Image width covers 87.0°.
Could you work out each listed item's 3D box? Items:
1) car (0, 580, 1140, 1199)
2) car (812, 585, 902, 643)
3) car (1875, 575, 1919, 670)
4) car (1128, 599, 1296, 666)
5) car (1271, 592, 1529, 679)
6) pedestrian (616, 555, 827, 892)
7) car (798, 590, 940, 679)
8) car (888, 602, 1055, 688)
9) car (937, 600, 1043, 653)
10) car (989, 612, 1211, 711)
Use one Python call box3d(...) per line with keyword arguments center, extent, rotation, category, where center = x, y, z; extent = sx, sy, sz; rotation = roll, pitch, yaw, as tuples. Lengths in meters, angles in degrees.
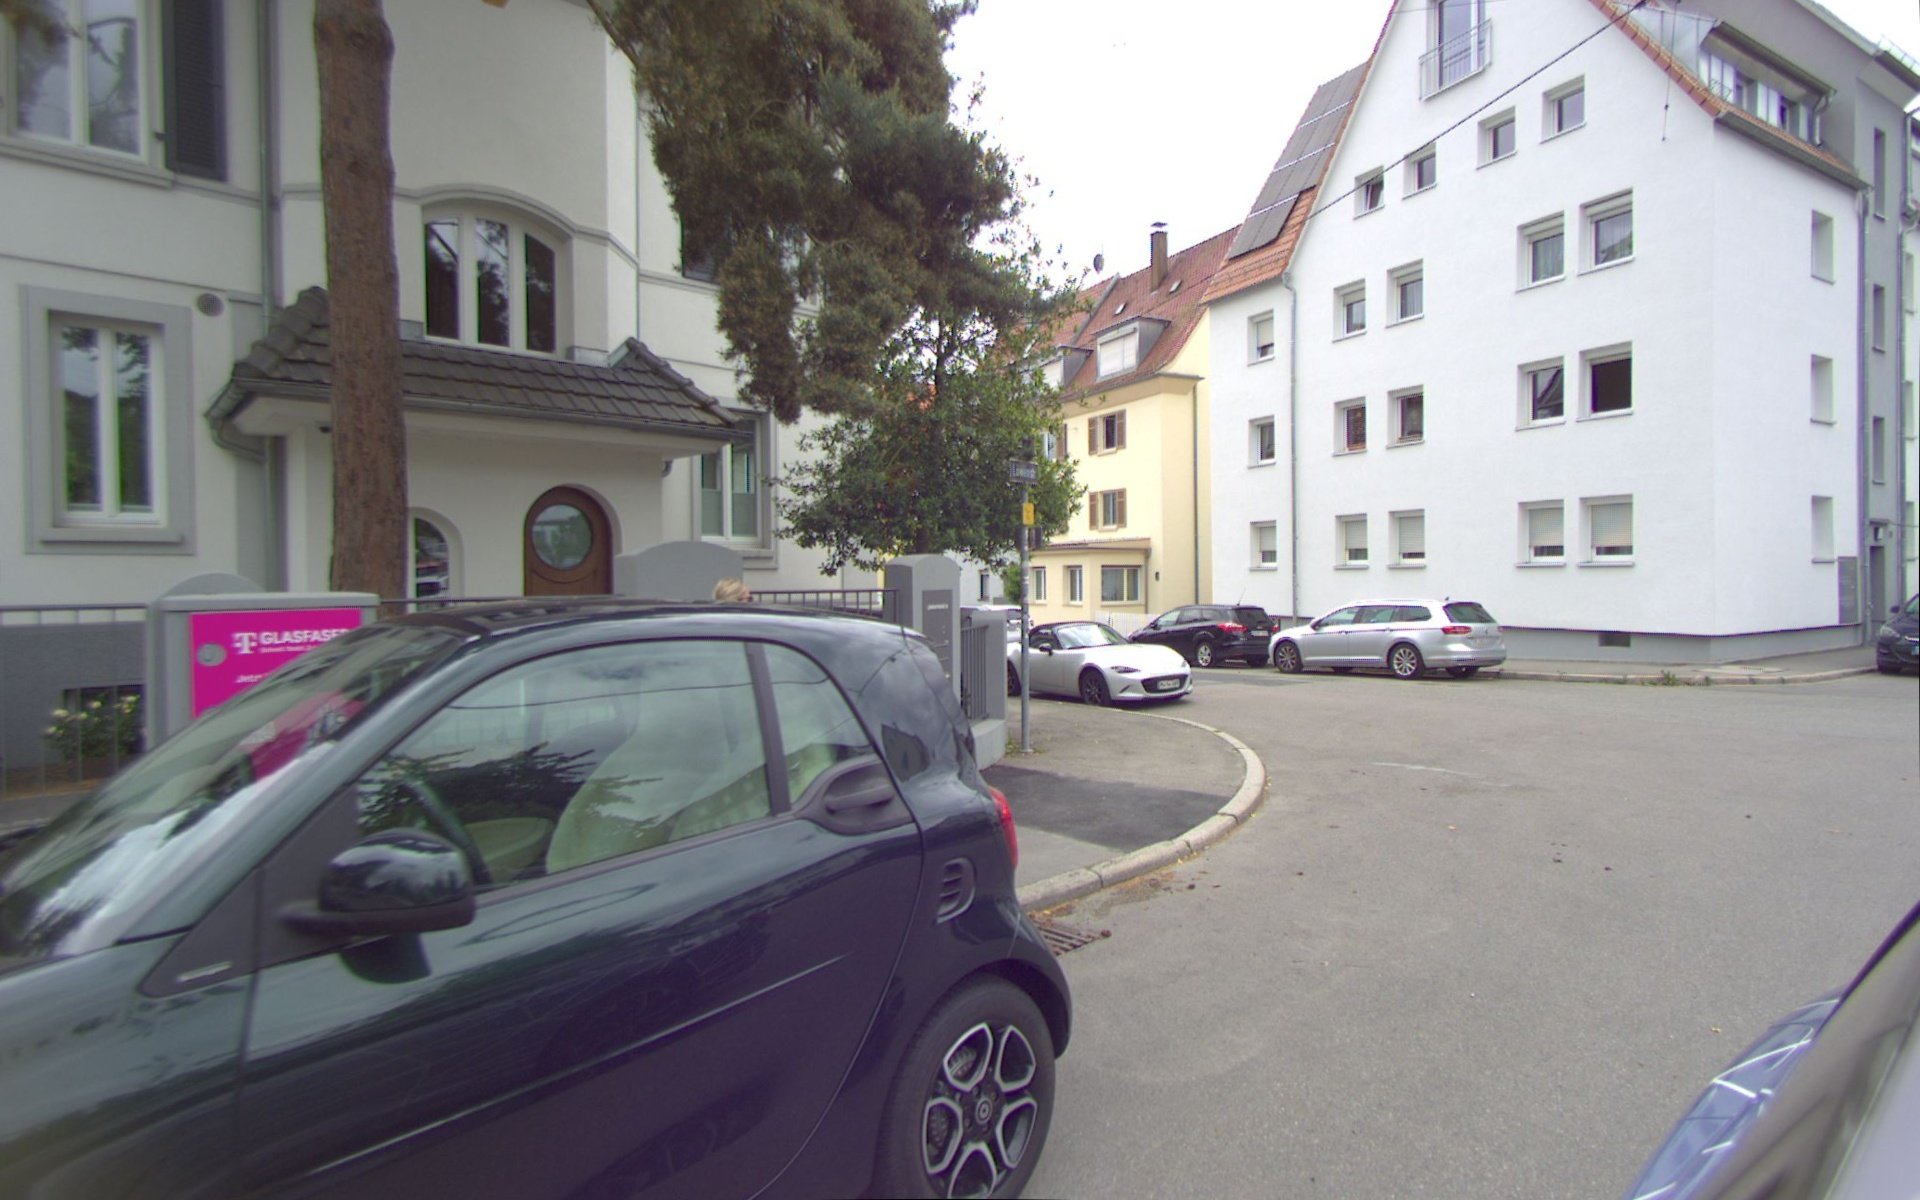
box3d(center=(-1.054, 0.792, 2.412), extent=(2.821, 1.552, 1.572), rotation=(1, -3, -45), category="car")
box3d(center=(-4.742, 0.648, 45.648), extent=(2.072, 2.445, 5.901), rotation=(0, -1, -26), category="car")
box3d(center=(17.214, 0.315, 16.918), extent=(4.203, 1.504, 1.825), rotation=(-2, 1, -33), category="car")
box3d(center=(5.878, 0.740, 24.096), extent=(1.702, 1.440, 4.005), rotation=(0, -1, -26), category="car")
box3d(center=(8.239, 0.623, 19.395), extent=(1.728, 1.468, 4.363), rotation=(0, -1, -29), category="car")
box3d(center=(-1.259, 0.567, 5.334), extent=(0.890, 1.596, 0.683), rotation=(-1, 3, -36), category="pedestrian")
box3d(center=(-2.420, 0.831, 25.785), extent=(1.855, 1.915, 4.520), rotation=(-5, 1, -28), category="car")
box3d(center=(0.108, 0.883, 20.889), extent=(1.637, 1.460, 4.209), rotation=(-5, 1, -26), category="car")
box3d(center=(0.950, 0.896, 34.490), extent=(1.830, 1.627, 4.004), rotation=(-2, -1, -28), category="car")
box3d(center=(2.106, 0.902, 16.089), extent=(1.638, 1.277, 3.482), rotation=(-4, 1, -31), category="car")
